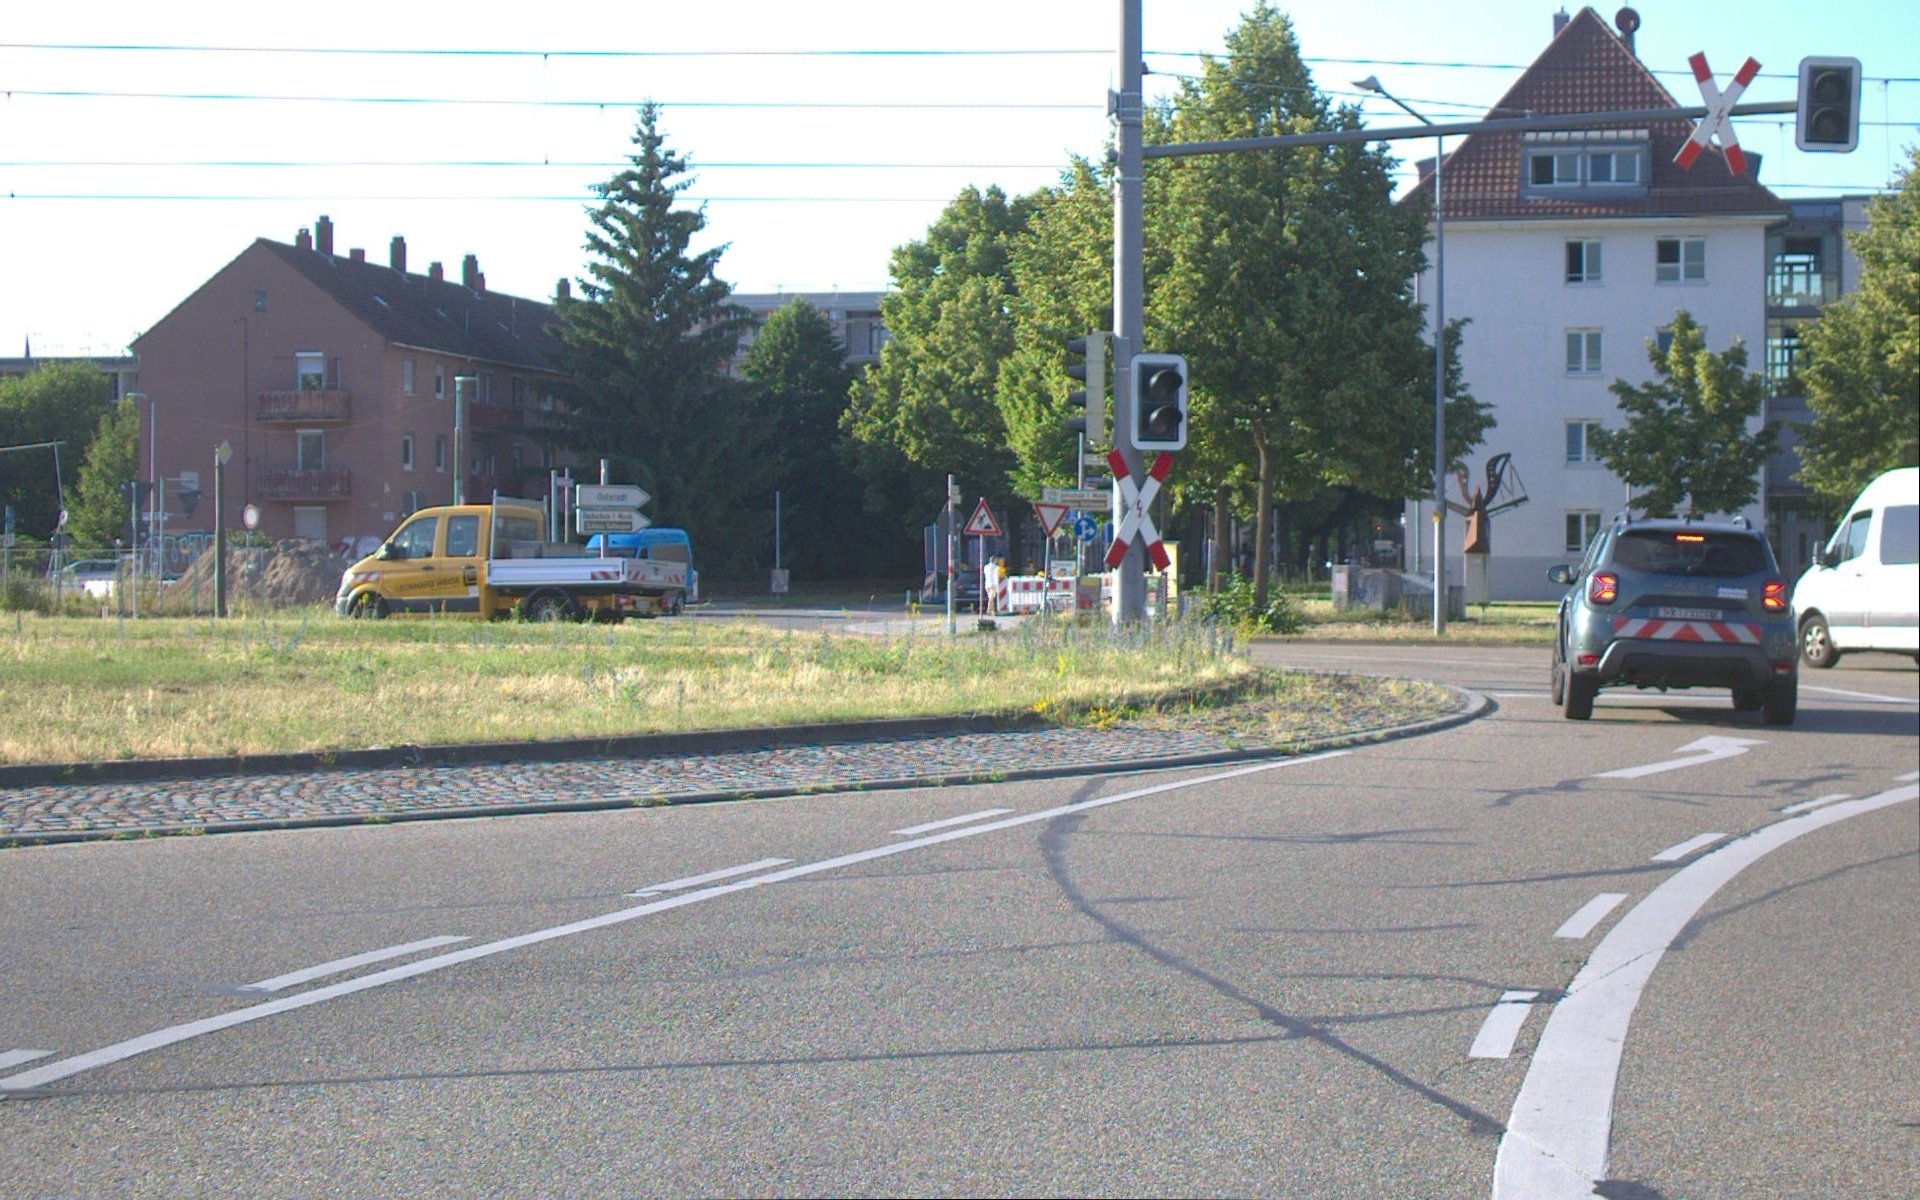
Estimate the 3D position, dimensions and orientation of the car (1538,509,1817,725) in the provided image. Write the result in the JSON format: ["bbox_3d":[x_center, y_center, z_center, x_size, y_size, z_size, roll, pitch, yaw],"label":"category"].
[{"bbox_3d":[5.852,0.111,28.460,1.906,1.654,3.999,0,1,7],"label":"car"}]

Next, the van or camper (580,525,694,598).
[{"bbox_3d":[-9.740,-1.181,103.897,2.095,2.147,4.420,0,1,14],"label":"van or camper"}]

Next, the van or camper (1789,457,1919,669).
[{"bbox_3d":[12.990,-0.430,42.718,2.284,2.620,6.585,1,1,-15],"label":"van or camper"}]

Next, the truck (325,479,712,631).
[{"bbox_3d":[-7.698,-0.804,59.886,6.238,2.549,2.586,1,1,23],"label":"truck"}]
